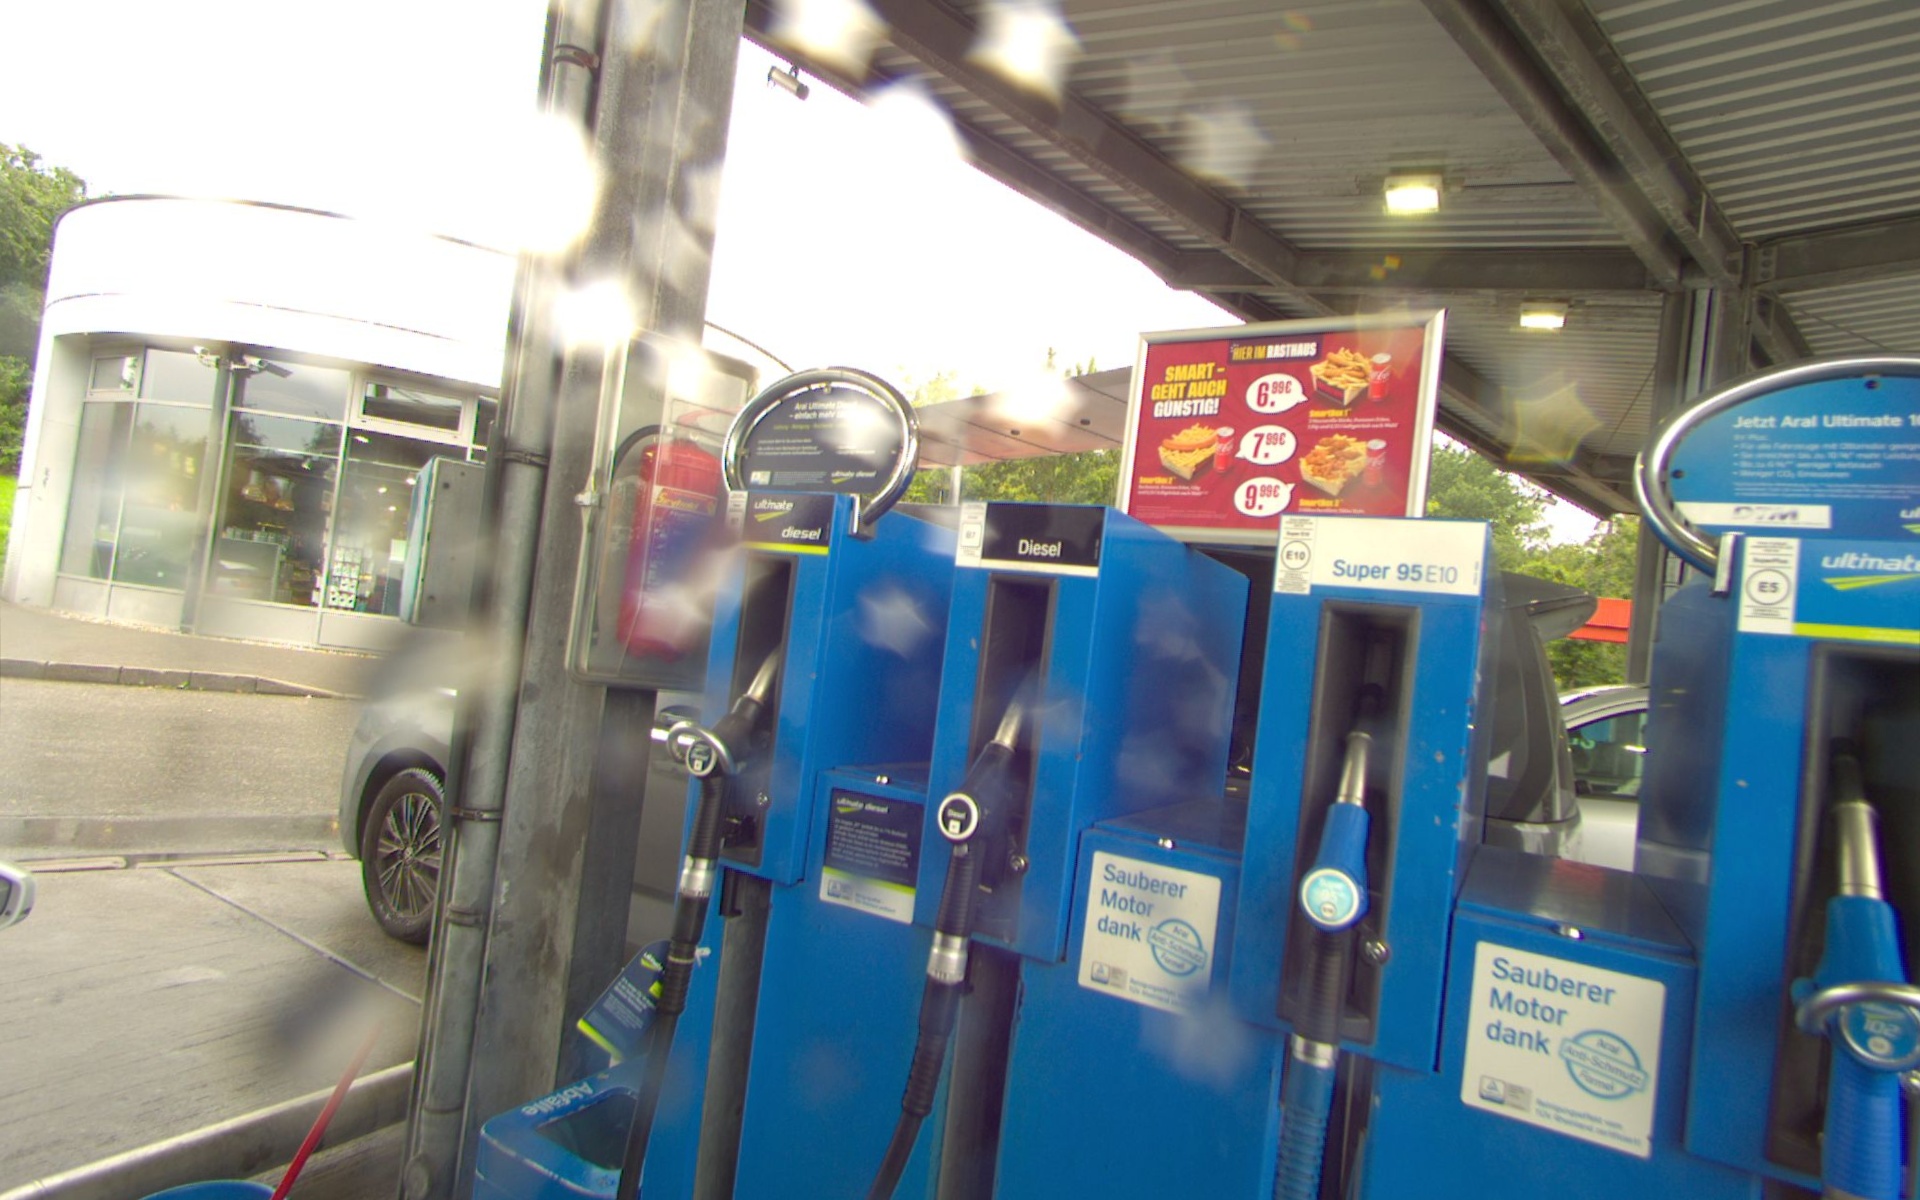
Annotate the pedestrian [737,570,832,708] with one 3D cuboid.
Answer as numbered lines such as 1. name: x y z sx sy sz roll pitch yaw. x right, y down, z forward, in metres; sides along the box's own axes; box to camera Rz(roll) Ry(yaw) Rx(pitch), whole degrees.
1. pedestrian: -2.562 0.566 14.689 0.965 1.871 0.767 7 0 -30

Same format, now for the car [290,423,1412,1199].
1. car: -0.574 0.519 3.977 3.934 1.971 1.819 7 -1 32

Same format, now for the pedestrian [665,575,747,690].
1. pedestrian: -3.763 0.477 14.913 0.882 1.569 0.655 7 0 -29

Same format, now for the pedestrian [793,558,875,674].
1. pedestrian: -2.214 0.271 17.662 0.990 1.887 0.793 7 0 -30
